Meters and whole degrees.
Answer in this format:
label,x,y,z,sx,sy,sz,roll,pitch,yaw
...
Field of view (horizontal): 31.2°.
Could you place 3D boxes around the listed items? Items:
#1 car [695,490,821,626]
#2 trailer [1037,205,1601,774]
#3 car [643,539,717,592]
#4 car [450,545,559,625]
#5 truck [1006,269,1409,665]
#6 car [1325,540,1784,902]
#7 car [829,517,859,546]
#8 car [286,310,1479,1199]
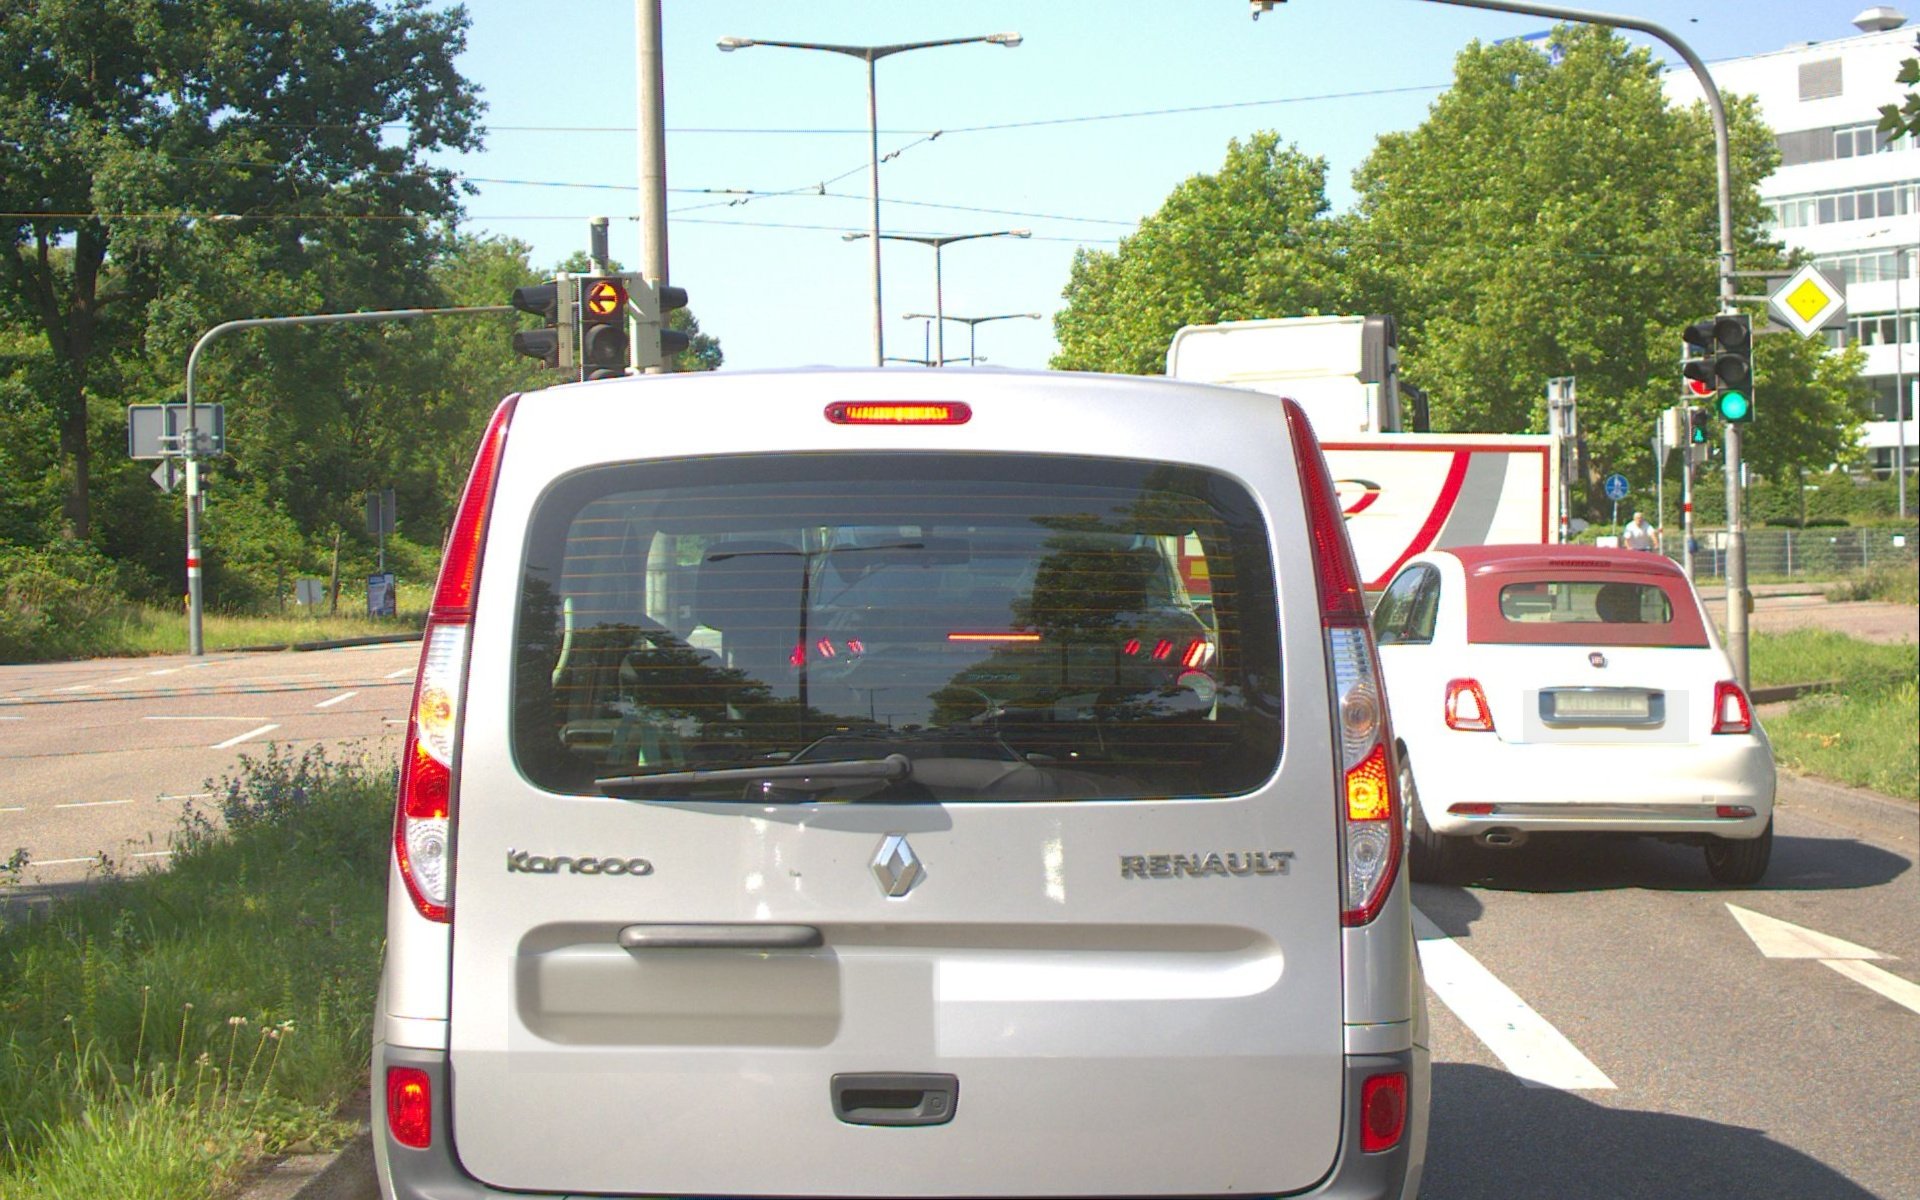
label,x,y,z,sx,sy,sz,roll,pitch,yaw
car,-4.048,-0.848,69.637,1.994,2.598,5.133,-1,0,2
trailer,2.448,-0.772,28.402,2.900,3.610,12.687,1,1,-2
car,-9.033,-1.109,111.217,1.911,1.636,3.737,-1,0,2
car,-9.191,-0.328,69.629,1.699,1.503,4.000,-1,2,-1
truck,2.731,-1.269,35.419,2.912,3.630,7.185,1,1,14
car,2.685,0.496,16.161,1.538,1.509,3.260,1,1,-1
car,-8.424,-4.985,250.496,1.888,2.007,4.000,1,1,2
car,-0.144,0.470,7.205,1.786,1.831,4.000,1,1,-1
